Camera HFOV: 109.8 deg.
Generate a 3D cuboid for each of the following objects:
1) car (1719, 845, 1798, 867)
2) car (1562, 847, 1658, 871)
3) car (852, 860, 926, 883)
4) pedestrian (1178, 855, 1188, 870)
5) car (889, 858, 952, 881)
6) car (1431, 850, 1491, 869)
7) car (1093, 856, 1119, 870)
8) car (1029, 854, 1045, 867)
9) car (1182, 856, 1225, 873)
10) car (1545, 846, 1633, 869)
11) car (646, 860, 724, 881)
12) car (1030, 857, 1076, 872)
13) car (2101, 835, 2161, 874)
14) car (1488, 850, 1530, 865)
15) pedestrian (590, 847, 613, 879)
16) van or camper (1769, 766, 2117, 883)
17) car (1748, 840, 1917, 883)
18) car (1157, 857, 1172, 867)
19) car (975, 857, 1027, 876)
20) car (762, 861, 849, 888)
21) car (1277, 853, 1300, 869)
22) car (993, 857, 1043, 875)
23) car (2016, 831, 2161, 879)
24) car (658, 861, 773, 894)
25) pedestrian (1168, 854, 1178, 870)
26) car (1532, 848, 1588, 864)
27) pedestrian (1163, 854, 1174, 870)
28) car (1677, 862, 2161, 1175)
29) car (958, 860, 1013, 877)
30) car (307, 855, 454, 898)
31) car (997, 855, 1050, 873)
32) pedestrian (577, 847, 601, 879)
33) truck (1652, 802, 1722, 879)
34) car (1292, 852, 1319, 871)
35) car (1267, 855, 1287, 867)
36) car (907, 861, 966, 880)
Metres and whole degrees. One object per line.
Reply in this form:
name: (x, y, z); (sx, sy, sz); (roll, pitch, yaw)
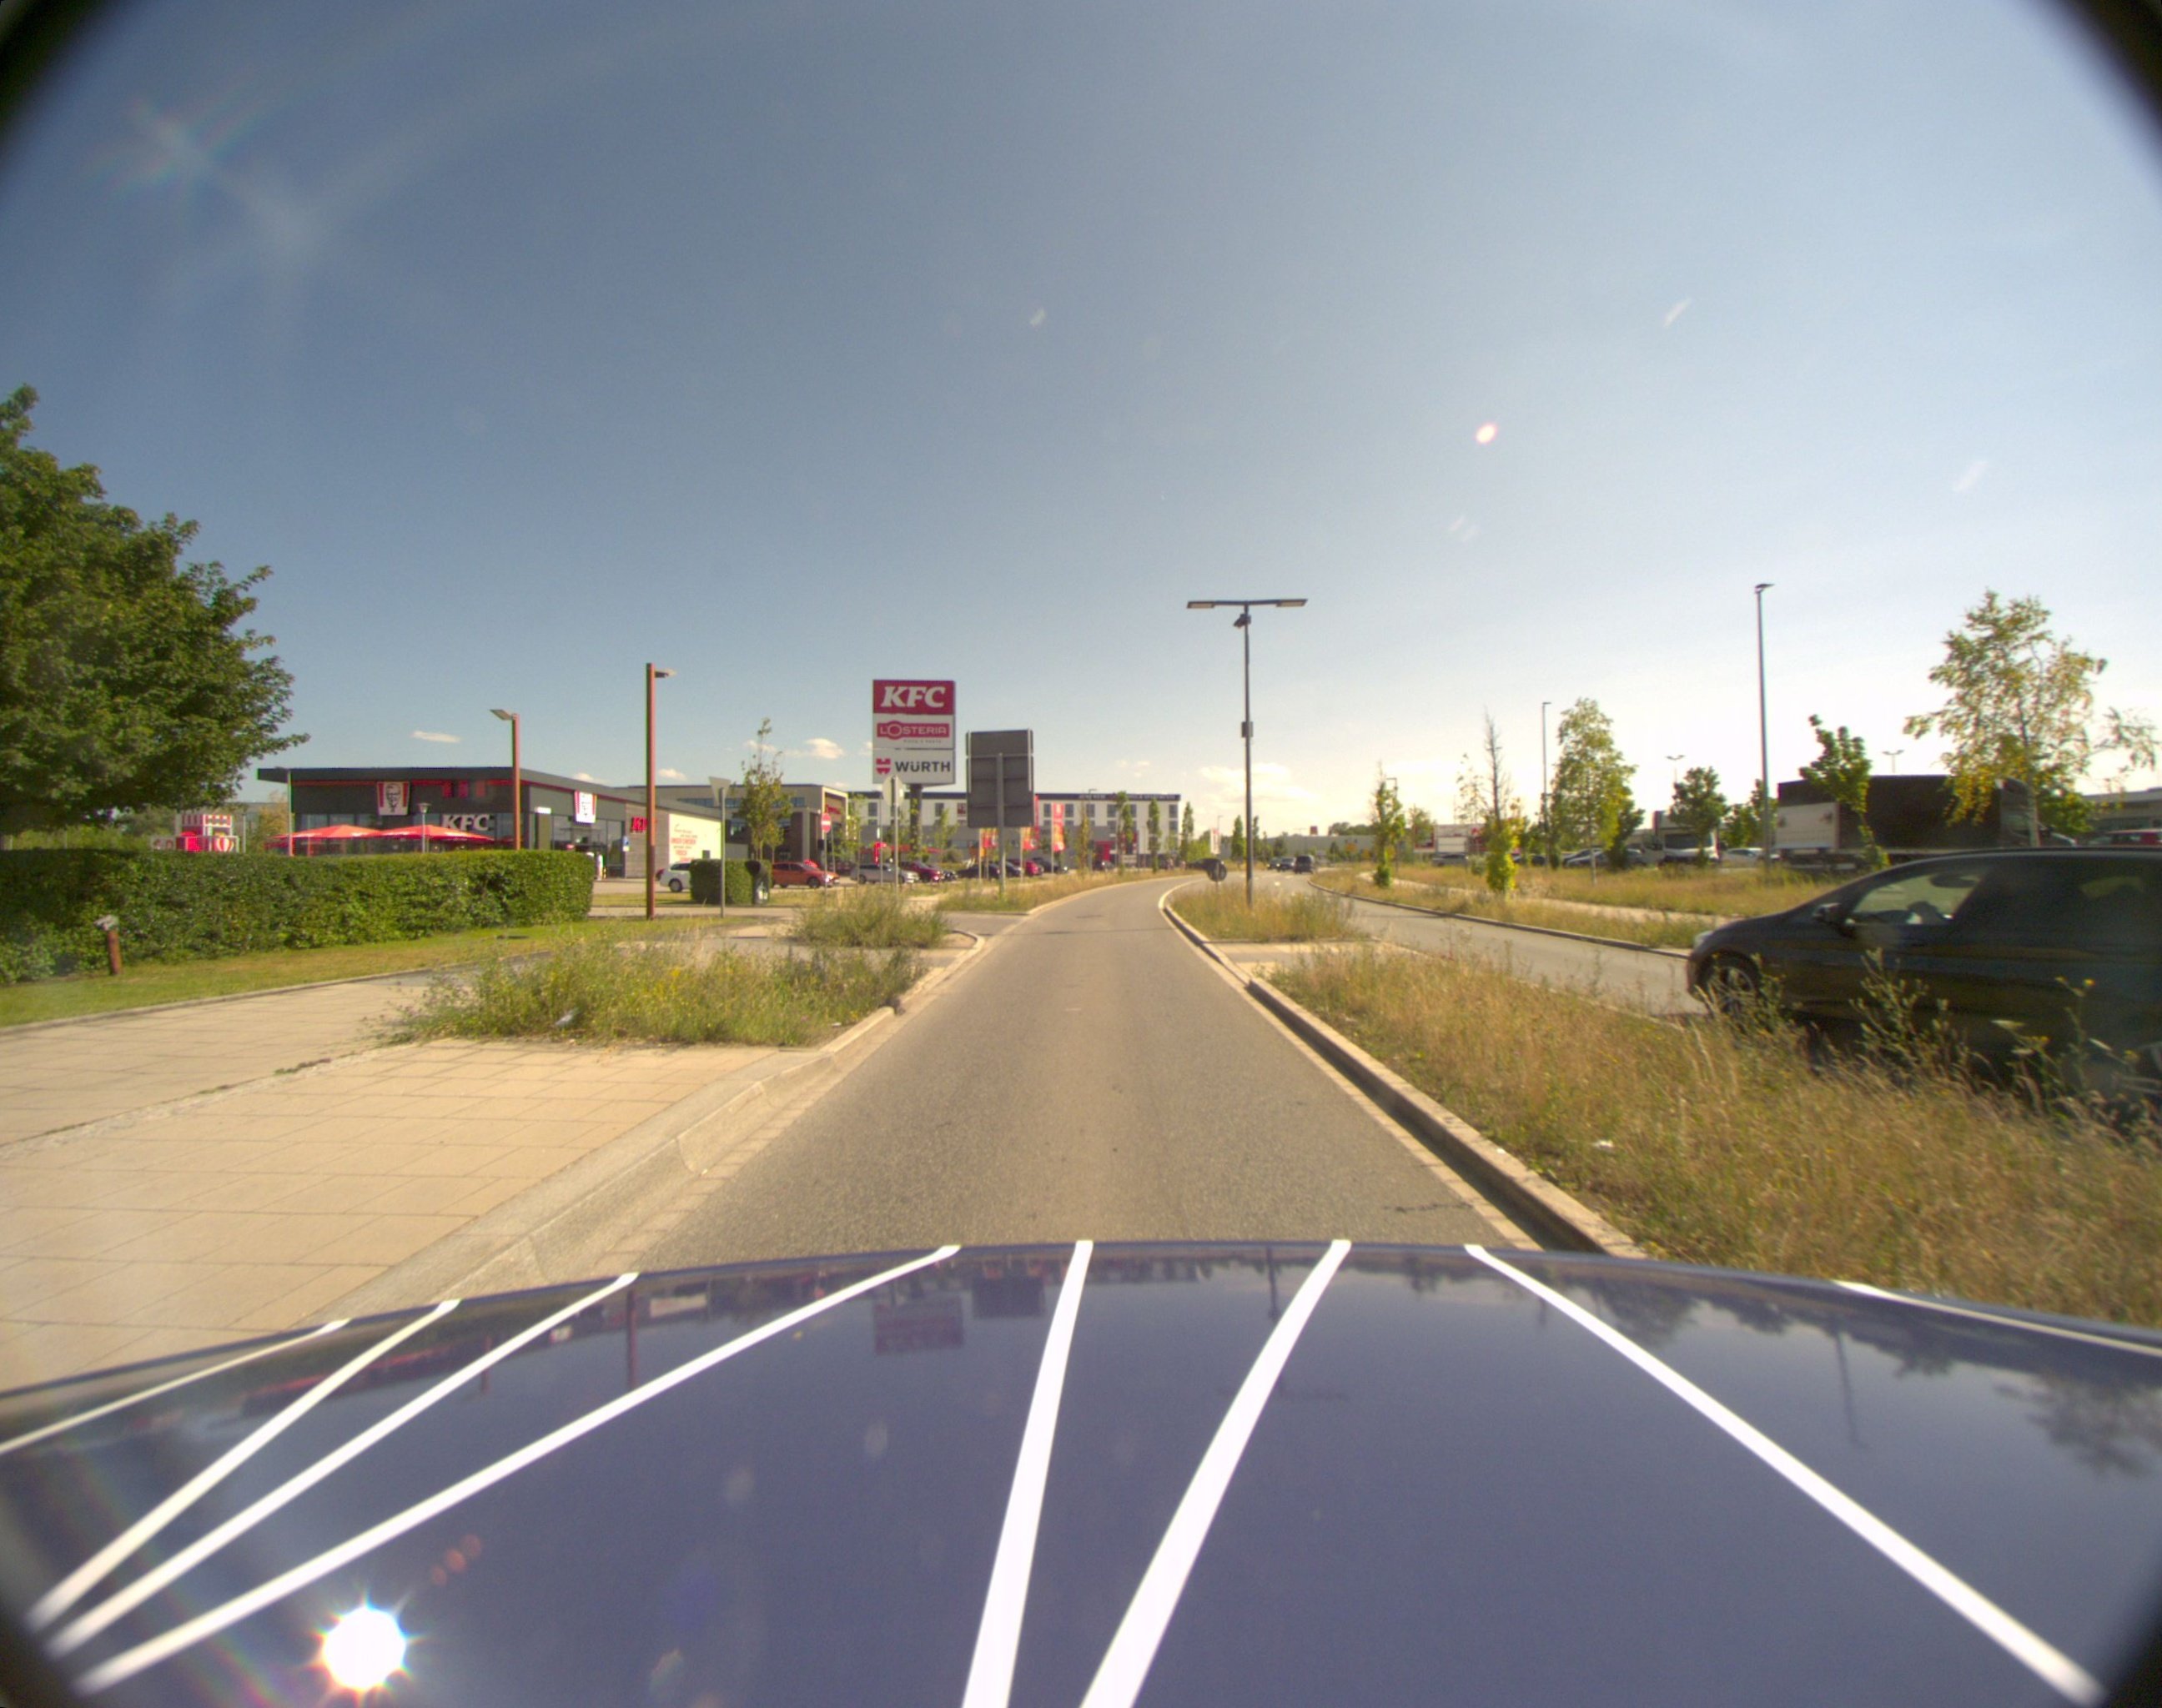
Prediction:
car: (48.088, 0.148, 54.057); (1.836, 1.503, 4.383); (-1, 0, 4)
car: (32.130, 0.299, 46.285); (4.429, 1.375, 1.978); (-1, 0, 18)
car: (-13.214, 1.184, 52.314); (4.562, 1.481, 1.871); (0, 0, 13)
pedestrian: (10.596, 0.880, 79.033); (0.793, 1.461, 0.950); (-1, 0, 23)
car: (-11.995, 1.142, 56.880); (4.158, 1.655, 1.871); (0, 0, 17)
car: (34.788, 0.534, 69.697); (4.765, 1.633, 2.120); (-2, -2, 26)
car: (3.052, 1.082, 92.302); (1.781, 1.531, 4.176); (-1, 0, 24)
car: (-6.550, 0.960, 112.809); (2.048, 1.805, 4.921); (0, -1, -6)
car: (13.188, 1.126, 81.851); (4.459, 1.669, 1.904); (-1, -2, 11)
car: (34.157, 0.260, 51.199); (4.581, 1.450, 1.840); (-1, 0, 18)
car: (-27.980, 1.133, 53.758); (4.566, 1.423, 1.869); (0, 0, 2)
car: (-2.938, 1.063, 80.325); (4.411, 1.557, 1.998); (0, 0, 18)
car: (44.060, -0.012, 29.960); (1.836, 1.553, 4.382); (-1, 0, 1)
car: (52.331, 0.444, 92.963); (4.148, 1.850, 1.936); (-1, 0, 21)
pedestrian: (-30.863, 0.562, 48.920); (0.915, 2.002, 0.891); (-1, 0, 6)
van or camper: (27.620, -0.860, 24.703); (7.707, 3.448, 2.557); (-1, 0, 8)
car: (28.474, 0.278, 28.916); (4.376, 1.543, 1.839); (-1, 0, 7)
car: (12.674, 1.219, 114.857); (1.515, 1.399, 4.006); (0, -1, 17)
car: (-7.470, 1.132, 71.003); (4.410, 1.724, 1.794); (0, 0, 20)
car: (-15.454, 1.128, 42.695); (4.212, 1.481, 1.870); (0, 0, 9)
car: (22.799, 0.801, 83.447); (1.753, 1.677, 4.389); (0, -1, 24)
car: (-6.108, 1.133, 73.799); (4.410, 1.724, 1.794); (0, 0, 20)
car: (41.097, 0.029, 30.461); (1.836, 1.763, 4.382); (-1, 0, 1)
car: (-16.943, 1.057, 35.332); (4.533, 1.481, 1.870); (0, 0, 9)
pedestrian: (9.505, 0.821, 78.516); (0.801, 1.620, 0.806); (-1, 0, 23)
car: (60.823, 0.223, 96.533); (5.690, 1.953, 2.002); (0, 0, 13)
pedestrian: (9.161, 0.799, 79.463); (0.809, 1.618, 0.867); (-1, 0, 23)
car: (6.274, 0.852, 4.755); (1.763, 1.534, 4.241); (2, 0, 1)
car: (-8.336, 1.268, 66.341); (4.410, 1.440, 1.794); (0, 0, 19)
car: (-27.455, 0.859, 29.871); (4.165, 1.625, 1.791); (0, 0, 1)
car: (-5.877, 1.029, 77.134); (4.987, 1.724, 1.942); (0, 0, 18)
pedestrian: (-30.851, 0.553, 47.653); (0.915, 2.002, 0.891); (-1, 0, 6)
truck: (29.806, -0.589, 37.587); (2.318, 3.444, 7.510); (-1, 0, 36)
car: (21.618, 0.732, 73.131); (1.952, 1.784, 4.435); (1, 0, 24)
car: (25.202, 0.922, 97.640); (1.783, 1.485, 4.007); (-1, 0, 24)
car: (-11.324, 1.274, 59.460); (4.160, 1.440, 1.793); (0, 0, 11)
